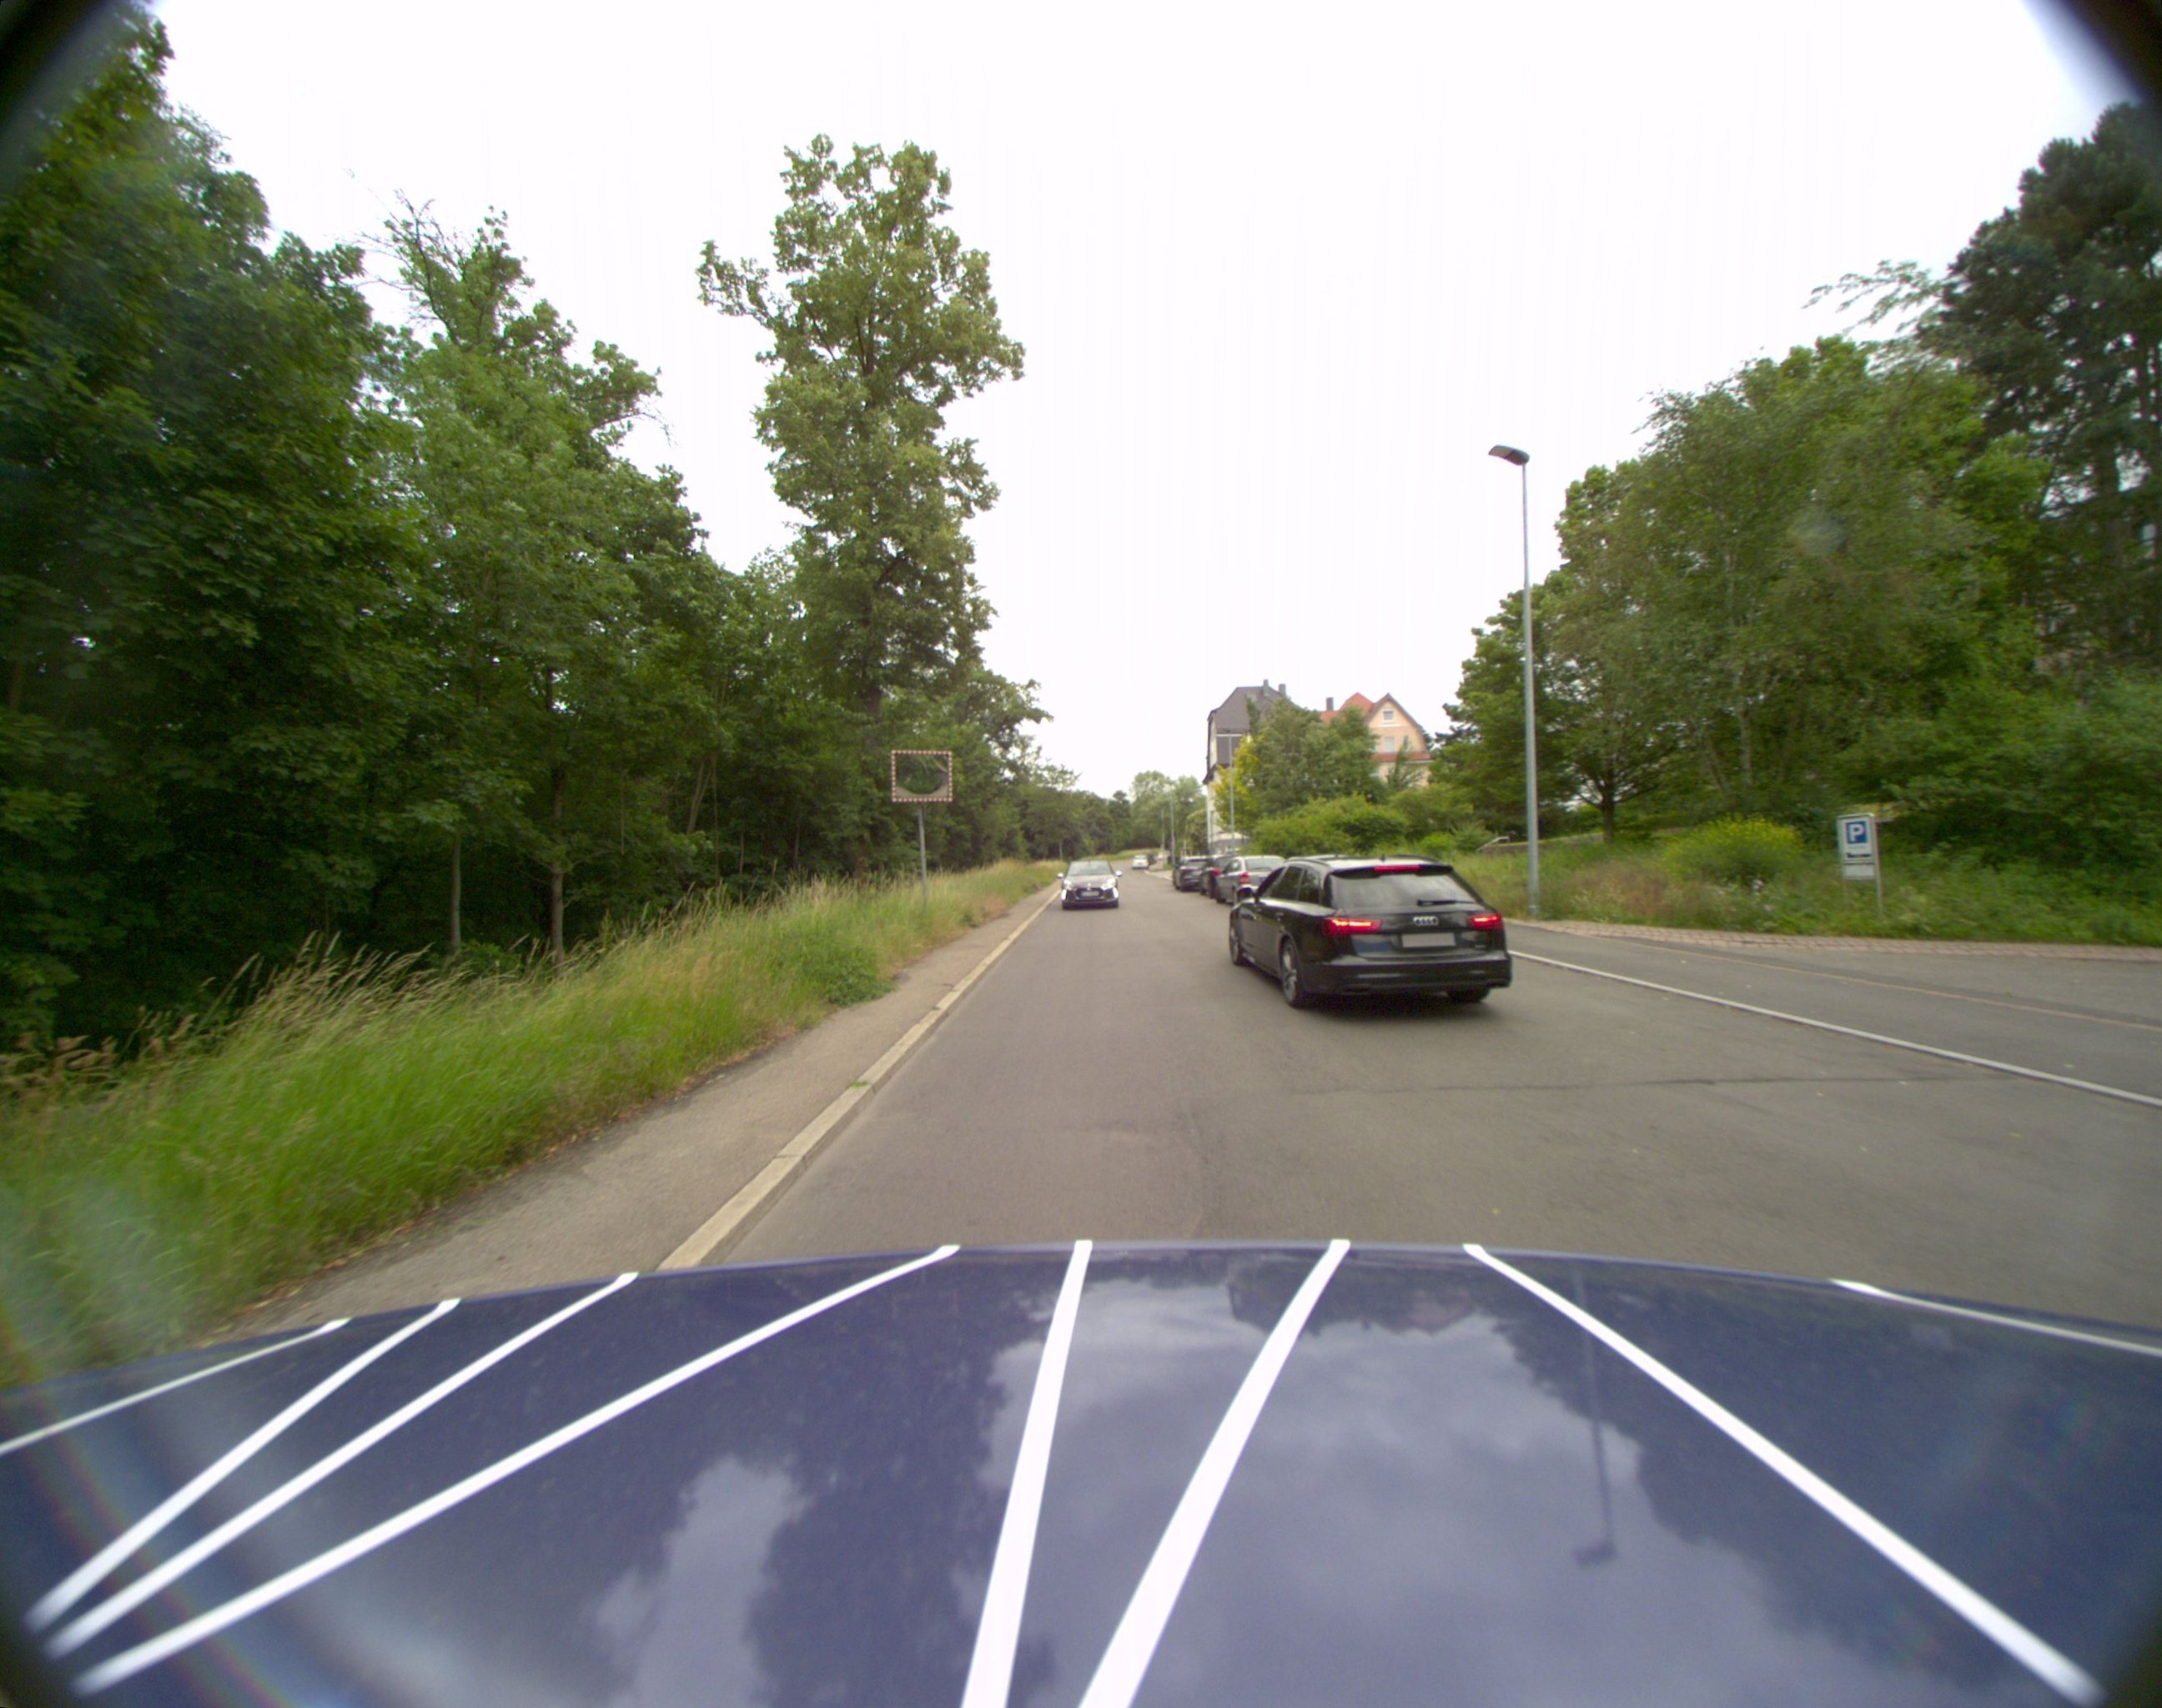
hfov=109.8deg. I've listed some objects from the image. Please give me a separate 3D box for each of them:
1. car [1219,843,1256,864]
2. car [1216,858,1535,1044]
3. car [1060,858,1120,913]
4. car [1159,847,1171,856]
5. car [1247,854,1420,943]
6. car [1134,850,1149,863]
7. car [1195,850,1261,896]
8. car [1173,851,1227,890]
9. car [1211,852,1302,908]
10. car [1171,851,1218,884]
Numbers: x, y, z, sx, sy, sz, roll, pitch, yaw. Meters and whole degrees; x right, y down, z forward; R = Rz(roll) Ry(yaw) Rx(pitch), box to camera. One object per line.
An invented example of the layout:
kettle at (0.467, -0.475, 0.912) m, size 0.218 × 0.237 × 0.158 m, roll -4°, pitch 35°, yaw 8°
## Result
car at (13.411, -0.082, 65.373) m, size 1.911 × 1.524 × 4.595 m, roll -5°, pitch 2°, yaw -3°
car at (2.794, 0.800, 8.425) m, size 1.785 × 1.417 × 4.489 m, roll -2°, pitch 0°, yaw 0°
car at (0.329, 0.868, 22.850) m, size 1.619 × 1.460 × 4.001 m, roll -1°, pitch 0°, yaw 3°
car at (14.927, -0.455, 135.077) m, size 1.735 × 1.420 × 3.460 m, roll 0°, pitch 1°, yaw 13°
car at (4.793, 0.741, 15.292) m, size 1.782 × 1.423 × 5.105 m, roll -2°, pitch 0°, yaw 0°
car at (6.636, 0.266, 83.773) m, size 1.646 × 1.461 × 4.072 m, roll 0°, pitch 0°, yaw 4°
car at (5.079, 0.621, 26.670) m, size 1.628 × 1.474 × 4.000 m, roll -1°, pitch 0°, yaw 1°
car at (4.900, 0.637, 31.900) m, size 1.710 × 1.474 × 4.496 m, roll -1°, pitch 0°, yaw 2°
car at (4.897, 0.664, 21.780) m, size 1.628 × 1.423 × 4.351 m, roll -1°, pitch 0°, yaw 0°
car at (5.431, 0.598, 36.859) m, size 1.686 × 1.474 × 4.693 m, roll -1°, pitch 0°, yaw 1°
